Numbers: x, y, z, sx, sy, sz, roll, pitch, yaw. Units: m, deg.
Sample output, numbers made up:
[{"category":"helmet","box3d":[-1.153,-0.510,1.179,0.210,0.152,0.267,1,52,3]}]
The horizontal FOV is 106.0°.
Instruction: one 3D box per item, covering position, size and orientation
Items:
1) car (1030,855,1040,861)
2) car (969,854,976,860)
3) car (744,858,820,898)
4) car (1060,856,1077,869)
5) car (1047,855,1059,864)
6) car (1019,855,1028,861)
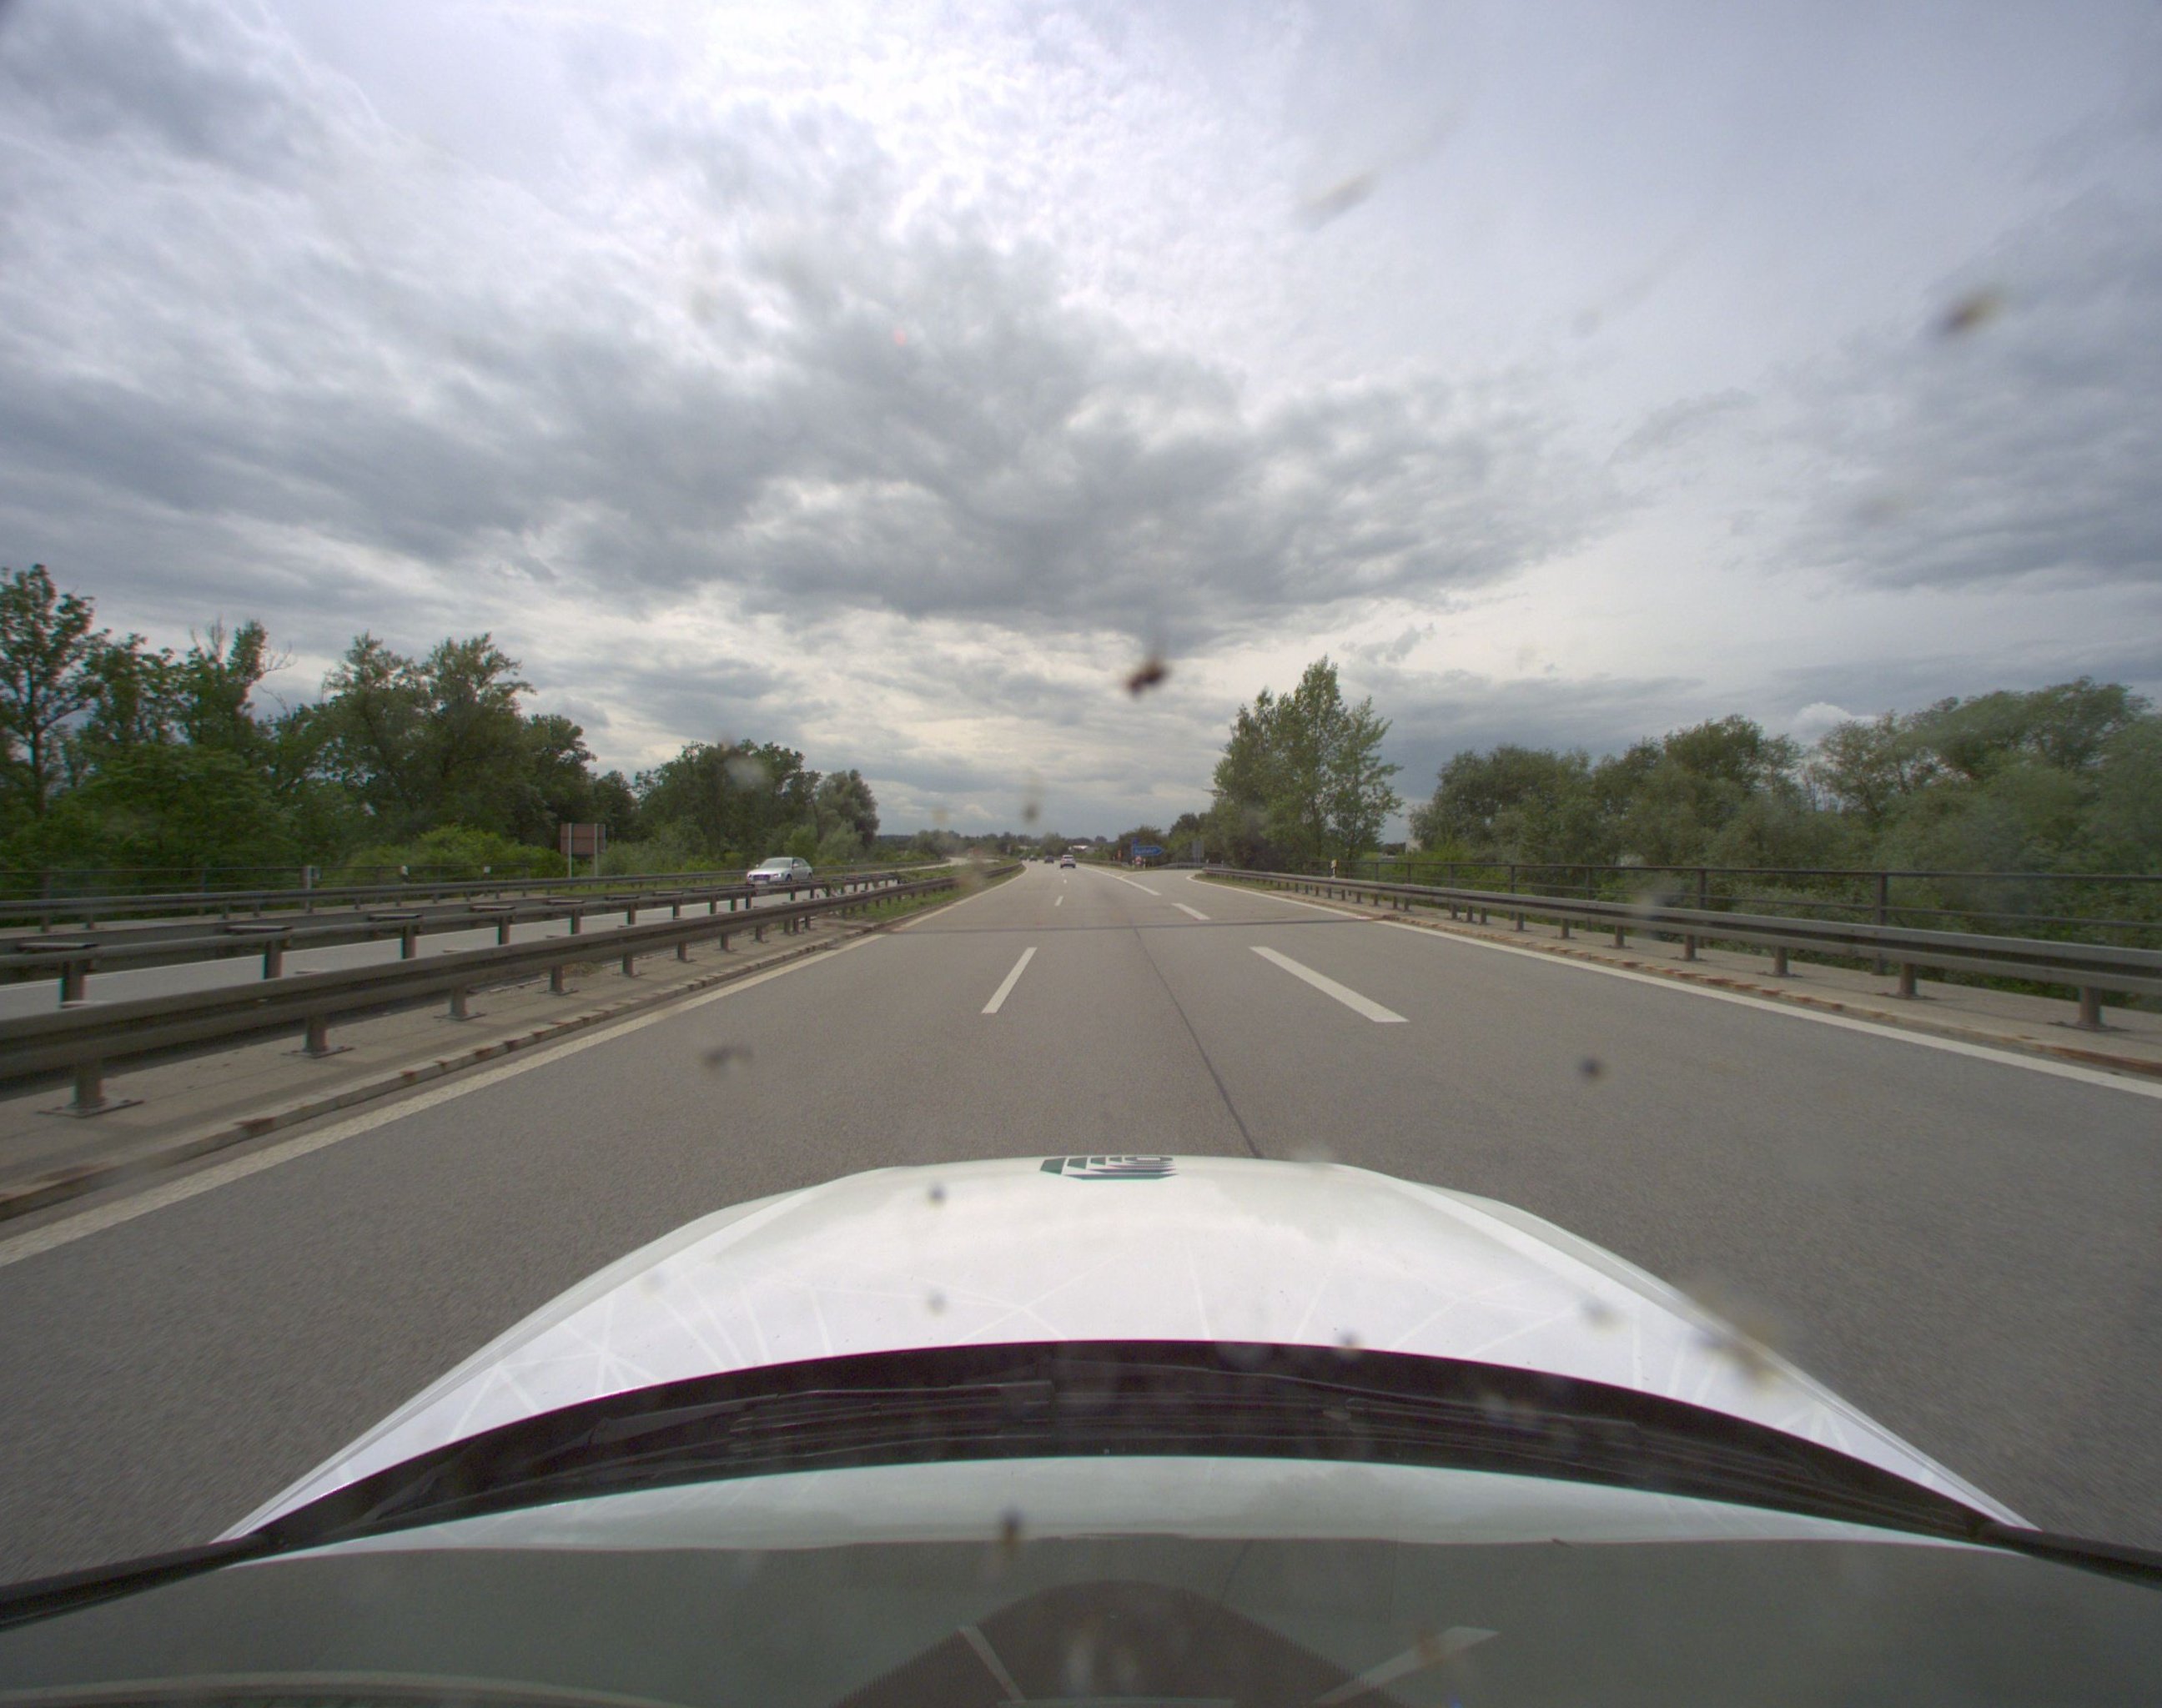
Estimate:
[{"category":"car","box3d":[-11.473,0.961,201.149,1.903,1.640,4.761,0,0,-11]},{"category":"car","box3d":[-32.846,0.949,246.078,1.698,1.884,5.219,0,0,-5]},{"category":"car","box3d":[-13.587,1.029,37.332,1.637,1.715,4.980,0,0,0]},{"category":"car","box3d":[-1.594,1.065,104.016,1.898,1.640,4.390,0,0,-4]},{"category":"car","box3d":[-5.495,1.059,158.206,1.890,1.640,4.611,0,0,-6]},{"category":"car","box3d":[-16.395,1.155,231.384,1.829,1.794,4.393,0,0,-14]}]
